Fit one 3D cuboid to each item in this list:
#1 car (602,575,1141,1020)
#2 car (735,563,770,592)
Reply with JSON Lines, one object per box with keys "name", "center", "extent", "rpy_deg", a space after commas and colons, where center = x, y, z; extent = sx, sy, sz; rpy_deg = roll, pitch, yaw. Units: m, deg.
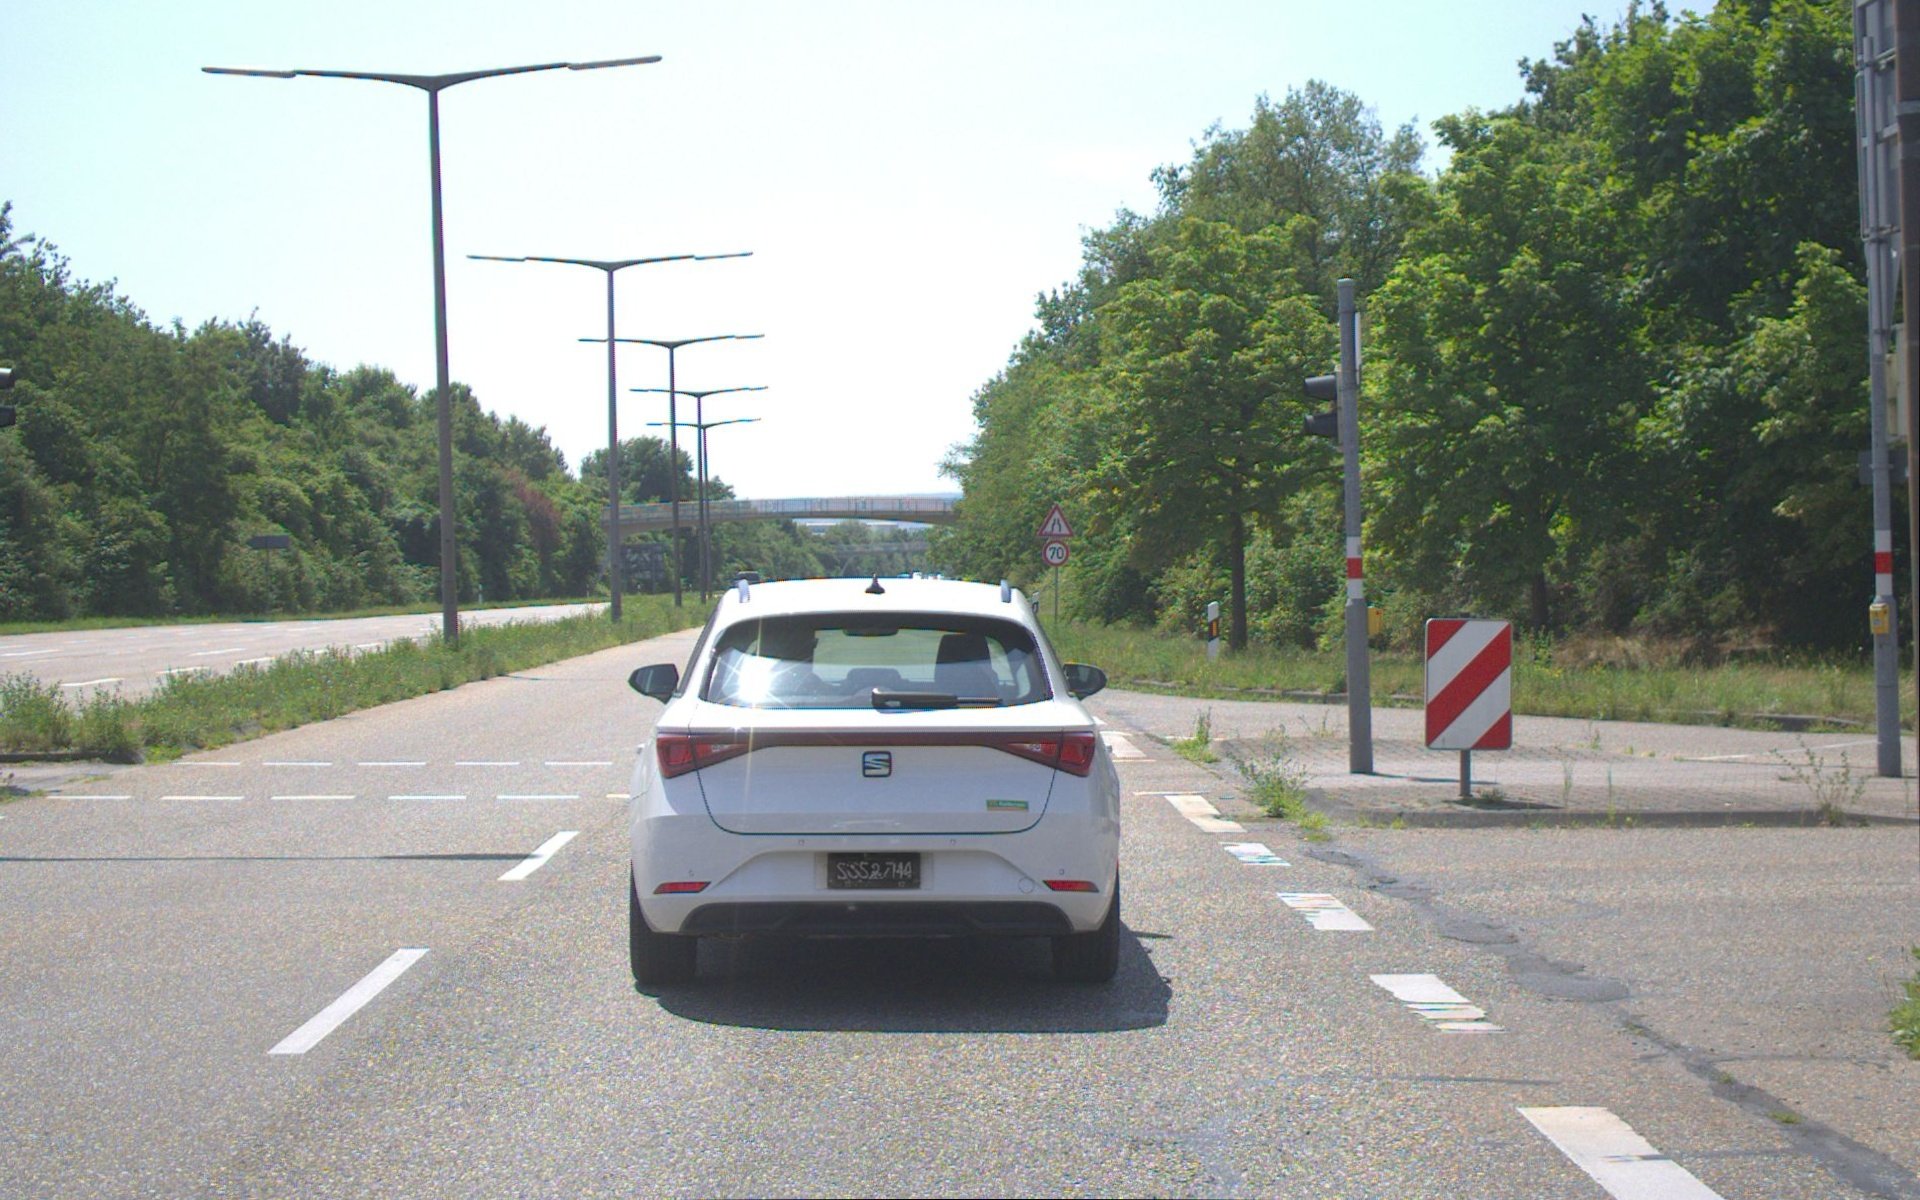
{"name": "car", "center": [-0.301, 0.647, 13.058], "extent": [1.734, 1.424, 3.694], "rpy_deg": [1, 0, 0]}
{"name": "car", "center": [-13.079, -1.426, 216.848], "extent": [1.855, 1.703, 4.000], "rpy_deg": [-1, 1, 1]}
